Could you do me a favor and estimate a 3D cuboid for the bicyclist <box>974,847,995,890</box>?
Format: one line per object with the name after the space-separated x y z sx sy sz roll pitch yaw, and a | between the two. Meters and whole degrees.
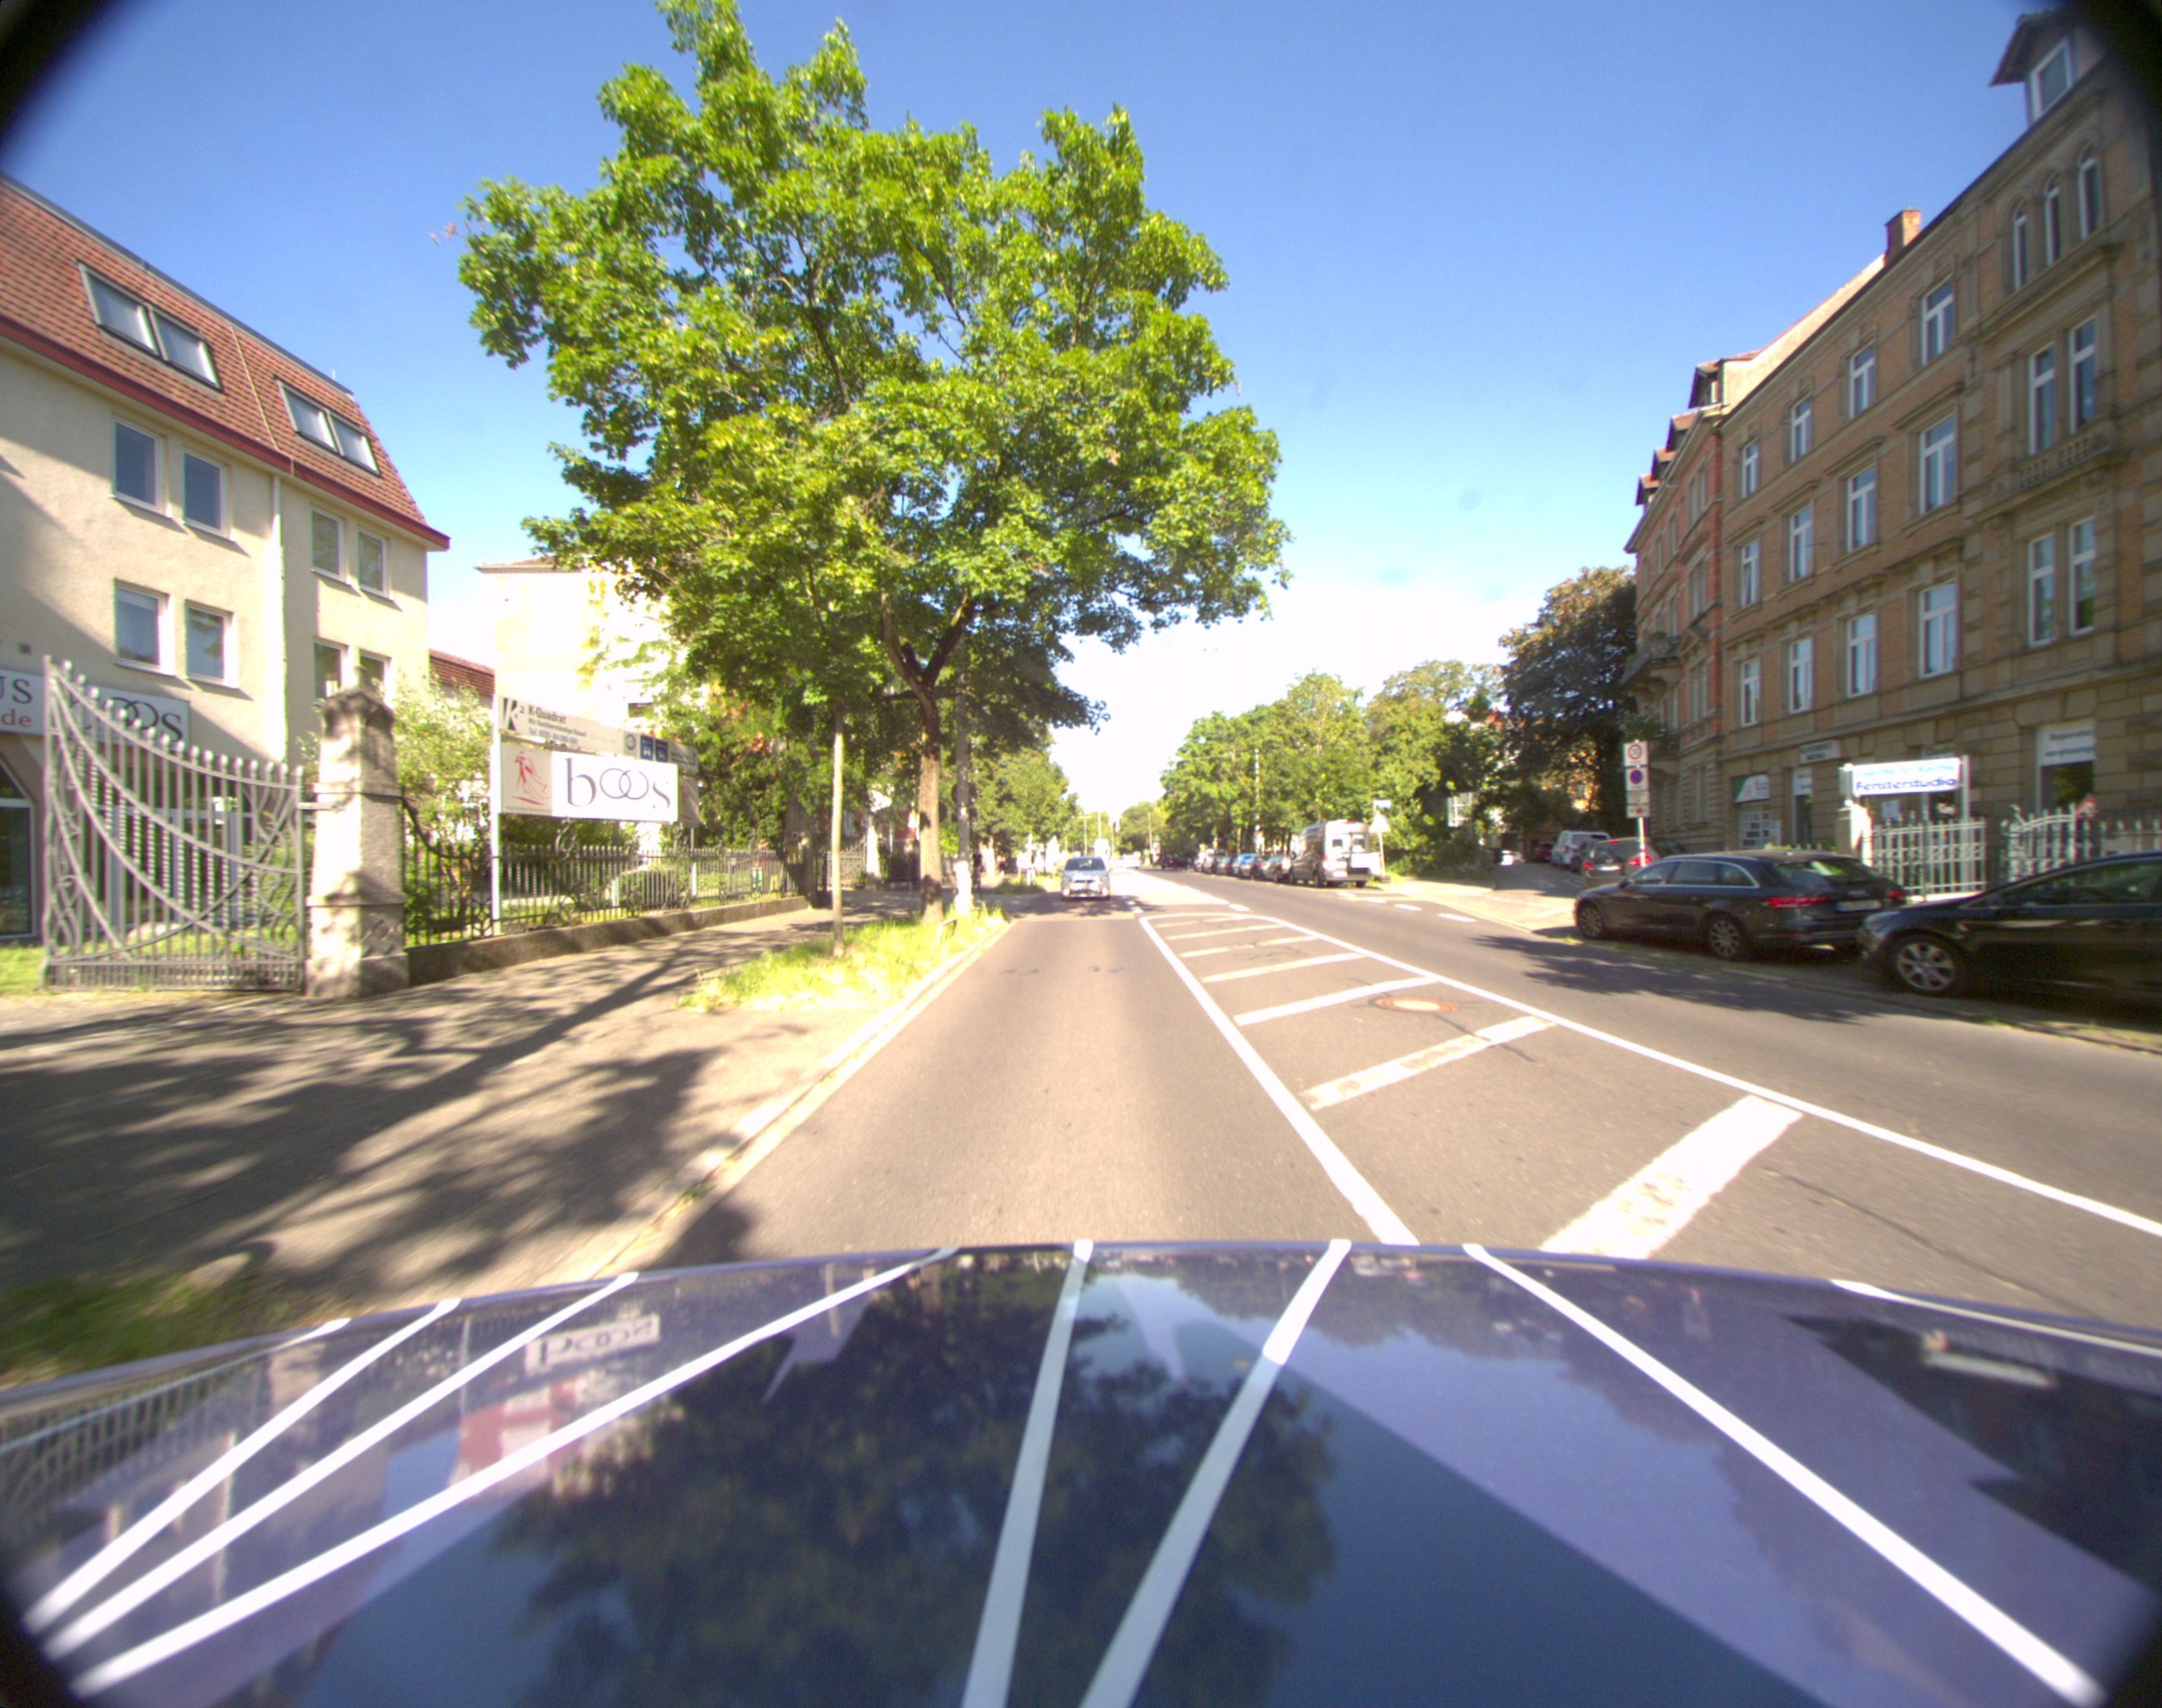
-3.892 0.566 30.565 0.647 1.685 0.889 3 0 1 | bicyclist

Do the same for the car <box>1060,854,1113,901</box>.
0.254 0.747 26.163 1.652 1.449 3.897 -2 0 2 | car

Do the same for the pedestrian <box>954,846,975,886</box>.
-5.298 0.538 34.494 0.749 1.777 0.811 2 1 1 | pedestrian

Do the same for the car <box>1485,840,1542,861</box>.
41.157 -0.374 72.400 4.440 1.903 1.868 1 2 23 | car

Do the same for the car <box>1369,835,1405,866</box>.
20.028 -0.248 49.817 1.861 1.903 4.457 1 2 18 | car

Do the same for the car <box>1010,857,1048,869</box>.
-6.188 1.054 91.081 4.417 1.409 2.047 1 0 2 | car

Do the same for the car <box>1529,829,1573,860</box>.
30.603 -0.671 49.590 1.860 1.903 4.458 1 2 25 | car

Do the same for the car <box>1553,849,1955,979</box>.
9.498 0.712 11.430 1.860 1.419 4.720 -4 0 1 | car

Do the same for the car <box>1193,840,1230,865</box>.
11.256 -0.121 65.856 1.989 2.024 4.874 2 0 -3 | car

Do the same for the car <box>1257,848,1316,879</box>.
10.397 0.478 38.772 1.698 1.448 4.663 1 0 -1 | car

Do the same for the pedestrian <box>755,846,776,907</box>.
-9.244 0.657 22.253 0.533 1.768 0.541 0 1 -26 | pedestrian

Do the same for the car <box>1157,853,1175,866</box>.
9.558 0.562 85.268 1.596 1.441 4.133 0 0 1 | car

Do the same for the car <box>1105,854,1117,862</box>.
5.778 0.716 146.357 1.843 1.482 3.779 0 0 -3 | car

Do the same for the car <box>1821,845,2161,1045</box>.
9.432 0.710 6.252 1.861 1.485 4.704 -4 0 -4 | car

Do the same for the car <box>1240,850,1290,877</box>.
10.420 0.513 43.368 1.785 1.405 4.405 1 0 1 | car

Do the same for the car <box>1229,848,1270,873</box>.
11.007 0.412 49.790 1.784 1.529 4.559 -1 0 2 | car

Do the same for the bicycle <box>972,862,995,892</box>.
-3.911 0.908 30.594 0.654 1.169 1.843 3 0 0 | bicycle

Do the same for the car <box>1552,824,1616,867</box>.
23.729 -0.437 36.002 1.860 1.903 4.458 1 2 25 | car

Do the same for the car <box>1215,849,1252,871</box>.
10.899 0.408 54.403 1.594 1.474 4.270 1 1 -3 | car

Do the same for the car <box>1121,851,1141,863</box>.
5.781 0.338 88.719 1.923 1.411 4.224 0 0 -2 | car

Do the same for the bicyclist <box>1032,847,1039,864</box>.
-4.465 0.165 75.272 0.622 1.680 0.820 3 0 -3 | bicyclist

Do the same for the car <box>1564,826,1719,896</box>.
15.583 0.182 21.083 4.150 1.660 1.996 -3 -1 -32 | car

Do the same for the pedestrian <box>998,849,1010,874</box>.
-5.320 0.518 52.336 0.696 1.649 0.820 2 1 0 | pedestrian

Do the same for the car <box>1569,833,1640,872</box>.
21.761 -0.103 31.735 1.860 1.504 3.535 1 2 25 | car

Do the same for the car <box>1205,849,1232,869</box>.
10.978 0.369 60.826 1.467 1.493 3.958 1 1 1 | car

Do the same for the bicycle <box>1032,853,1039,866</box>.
-4.486 0.544 75.261 0.617 1.169 1.918 3 0 -3 | bicycle

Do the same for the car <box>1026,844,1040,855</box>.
-6.413 -0.587 101.782 1.847 1.432 4.105 2 0 -3 | car

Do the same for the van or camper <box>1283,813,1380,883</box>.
10.686 -0.227 33.010 2.222 2.723 6.088 -1 0 1 | van or camper
